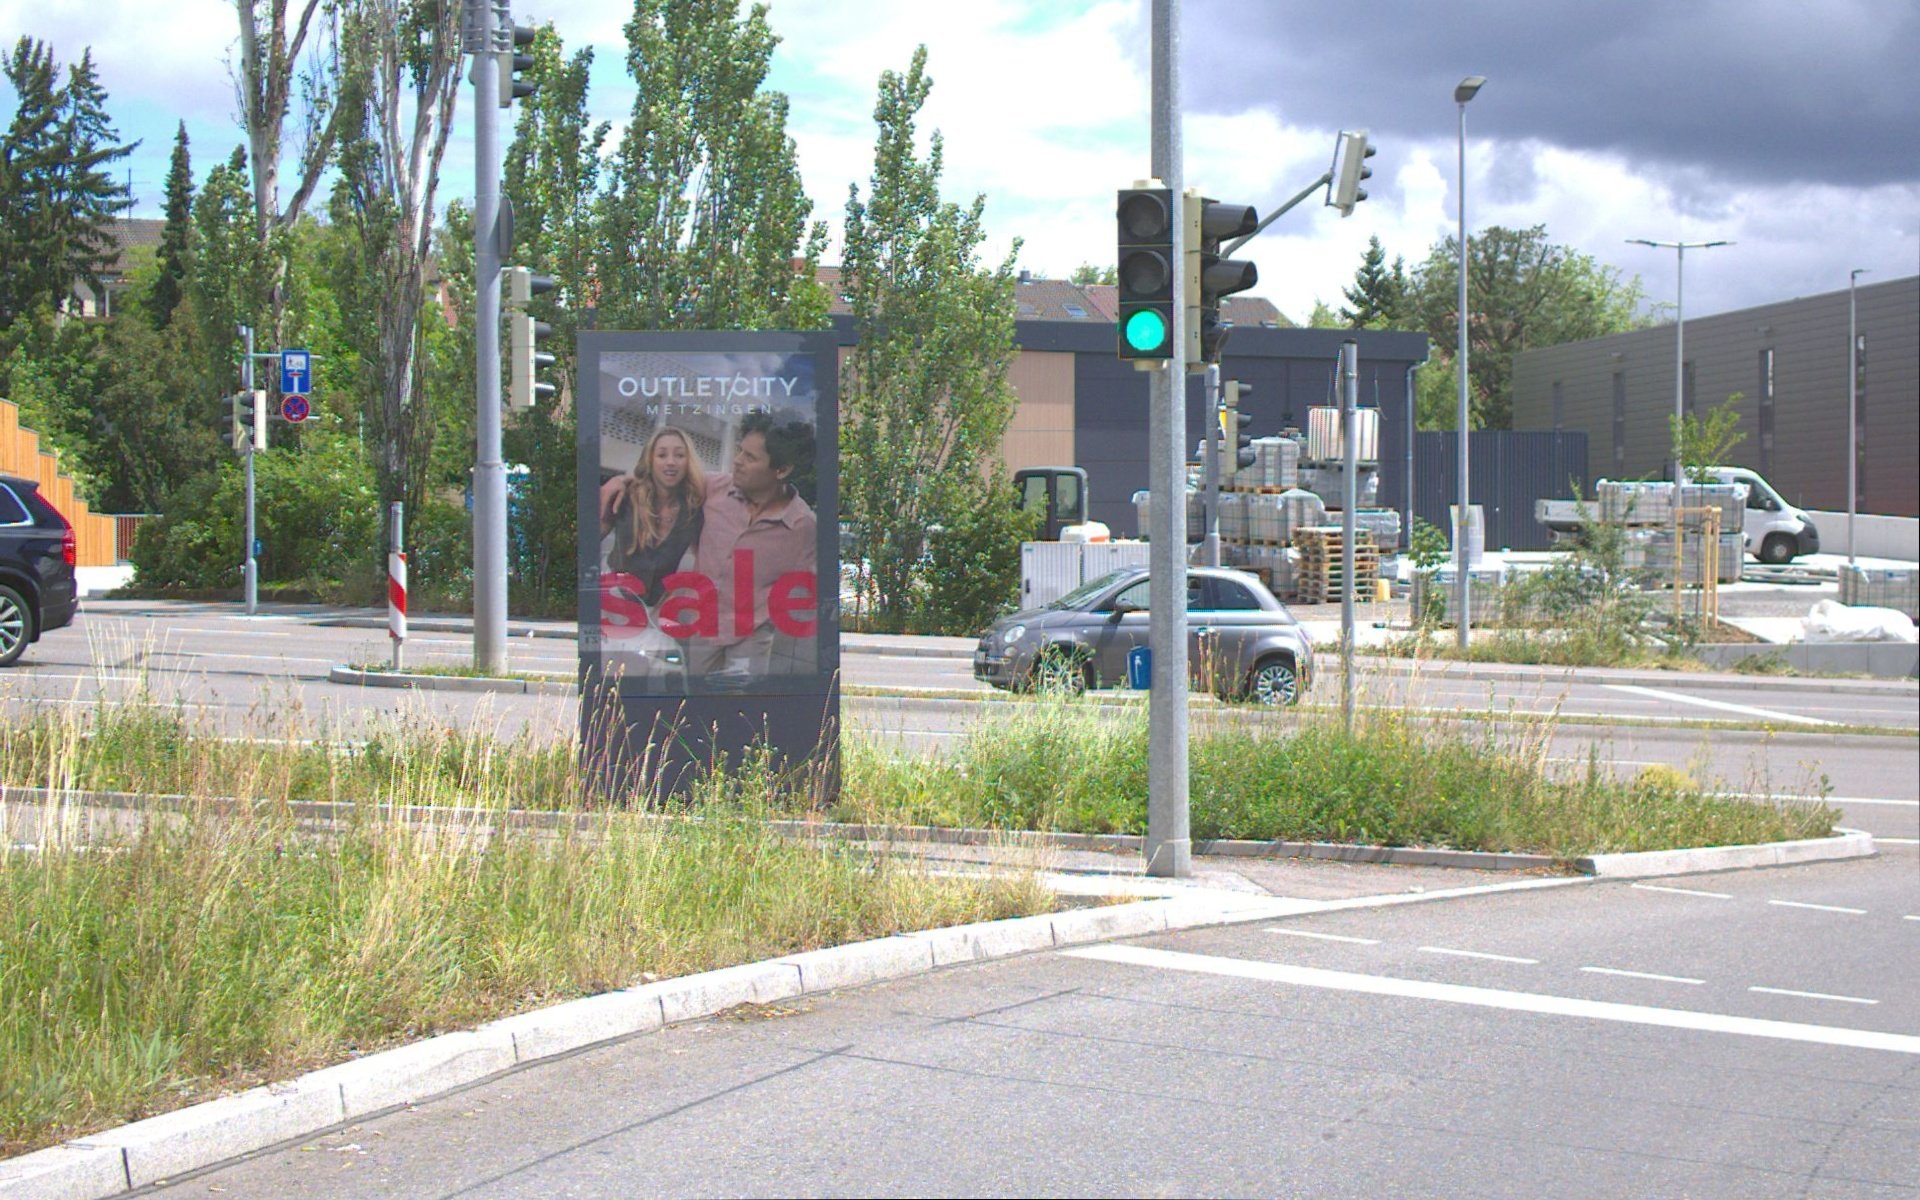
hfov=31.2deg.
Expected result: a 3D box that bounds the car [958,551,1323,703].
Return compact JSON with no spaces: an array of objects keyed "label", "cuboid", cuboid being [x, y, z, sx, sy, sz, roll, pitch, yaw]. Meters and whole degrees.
[{"label":"car","cuboid":[1.867,0.258,36.009,3.511,1.455,1.586,-1,2,-12]}]

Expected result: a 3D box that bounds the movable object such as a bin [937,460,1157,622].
[{"label":"movable object such as a bin","cuboid":[1.506,-0.987,58.197,3.404,2.529,2.152,3,1,7]}]

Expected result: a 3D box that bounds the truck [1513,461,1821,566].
[{"label":"truck","cuboid":[15.911,-1.963,77.618,6.560,2.138,2.000,-2,2,5]}]

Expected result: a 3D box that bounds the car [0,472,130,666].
[{"label":"car","cuboid":[-9.955,-0.360,29.950,1.910,1.684,4.969,4,2,45]}]
